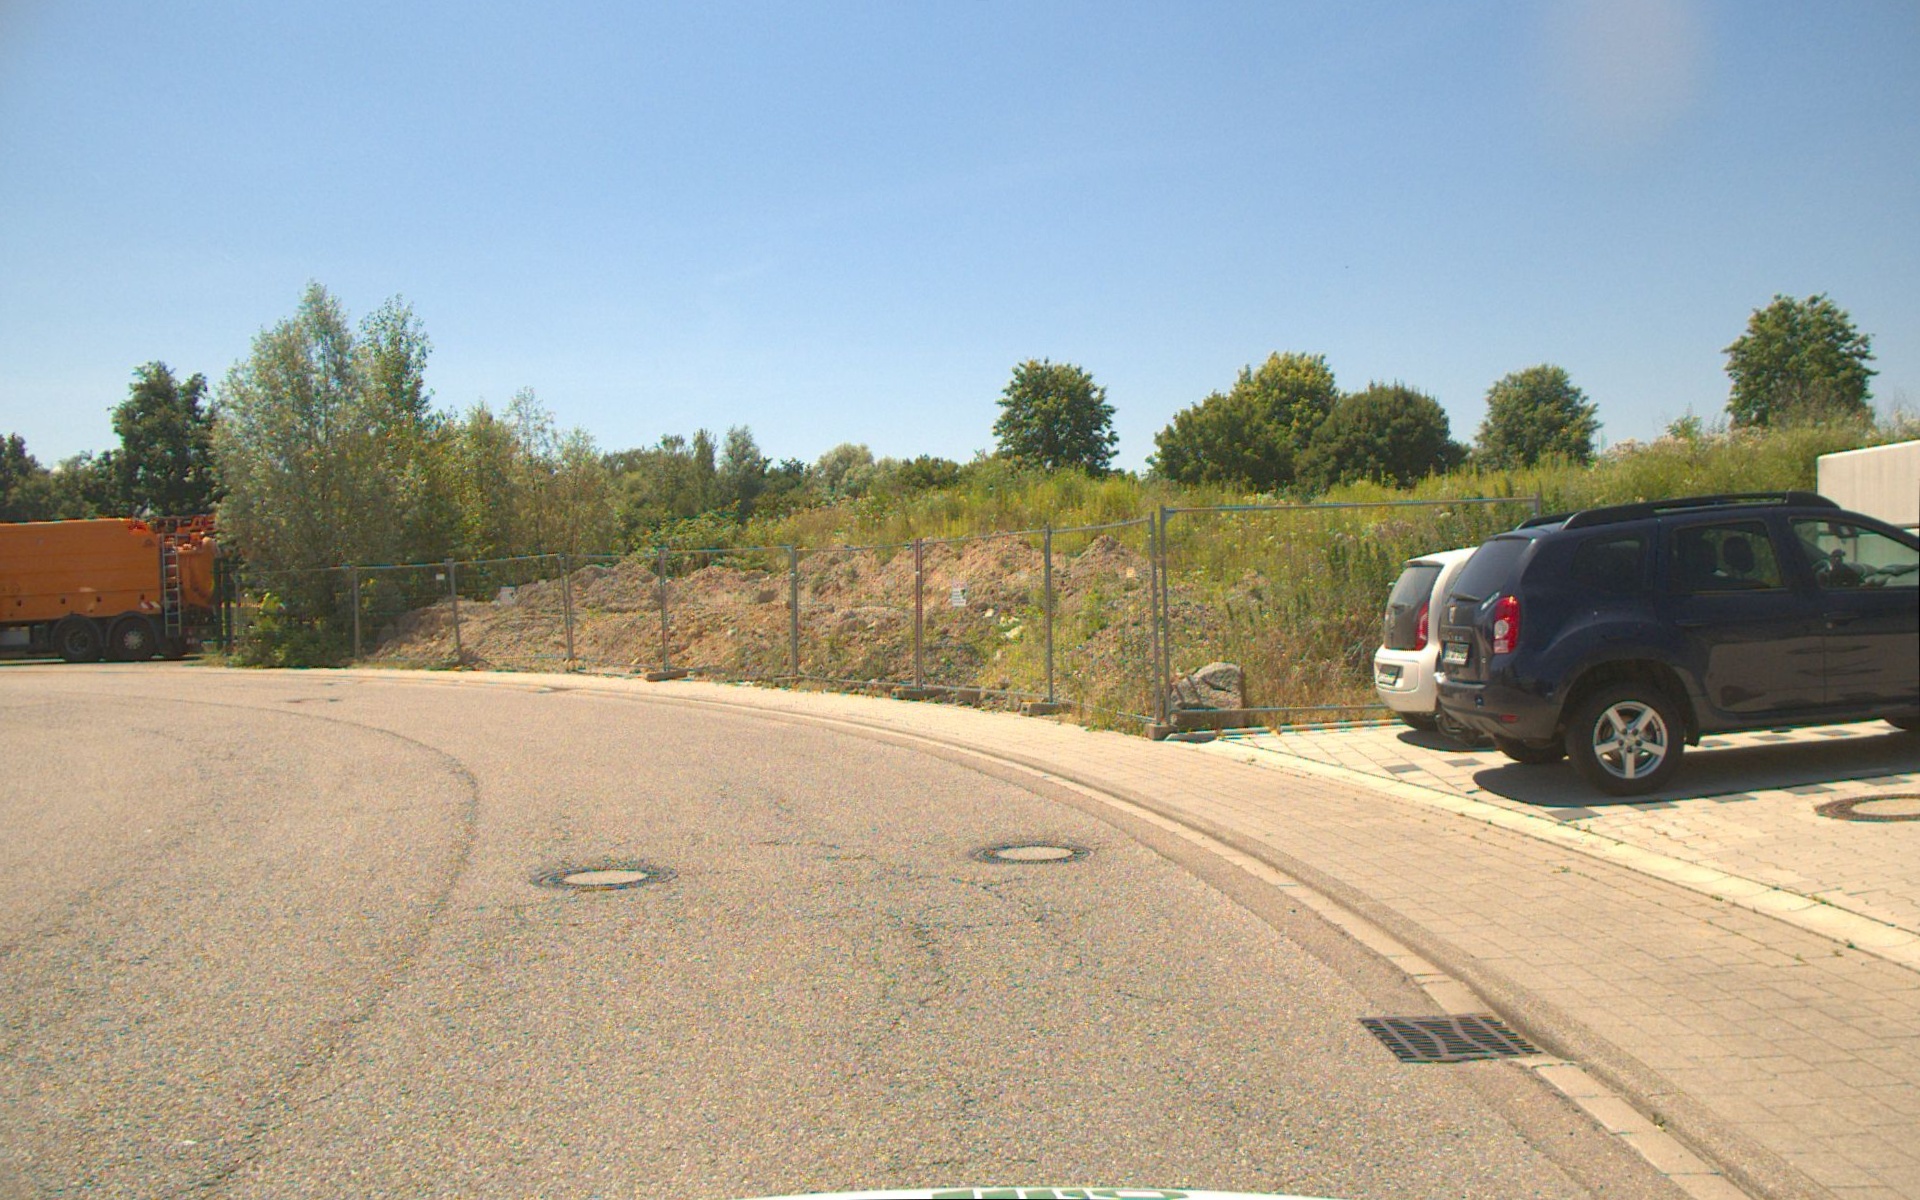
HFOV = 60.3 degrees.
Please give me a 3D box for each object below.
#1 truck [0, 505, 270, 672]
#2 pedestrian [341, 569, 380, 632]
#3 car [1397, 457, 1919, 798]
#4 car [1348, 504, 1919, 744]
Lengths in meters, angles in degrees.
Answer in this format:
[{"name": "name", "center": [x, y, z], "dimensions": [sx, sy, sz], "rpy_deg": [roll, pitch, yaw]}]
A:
[{"name": "truck", "center": [-22.697, -0.254, 42.052], "dimensions": [8.411, 3.872, 4.163], "rpy_deg": [-2, 1, -2]}, {"name": "pedestrian", "center": [-17.949, 0.014, 49.546], "dimensions": [0.858, 1.856, 0.740], "rpy_deg": [-1, 1, 0]}, {"name": "car", "center": [5.023, 0.066, 10.442], "dimensions": [3.929, 1.683, 1.858], "rpy_deg": [-6, 1, 1]}, {"name": "car", "center": [5.285, 0.155, 13.093], "dimensions": [3.928, 1.487, 1.893], "rpy_deg": [-4, 1, 1]}]
